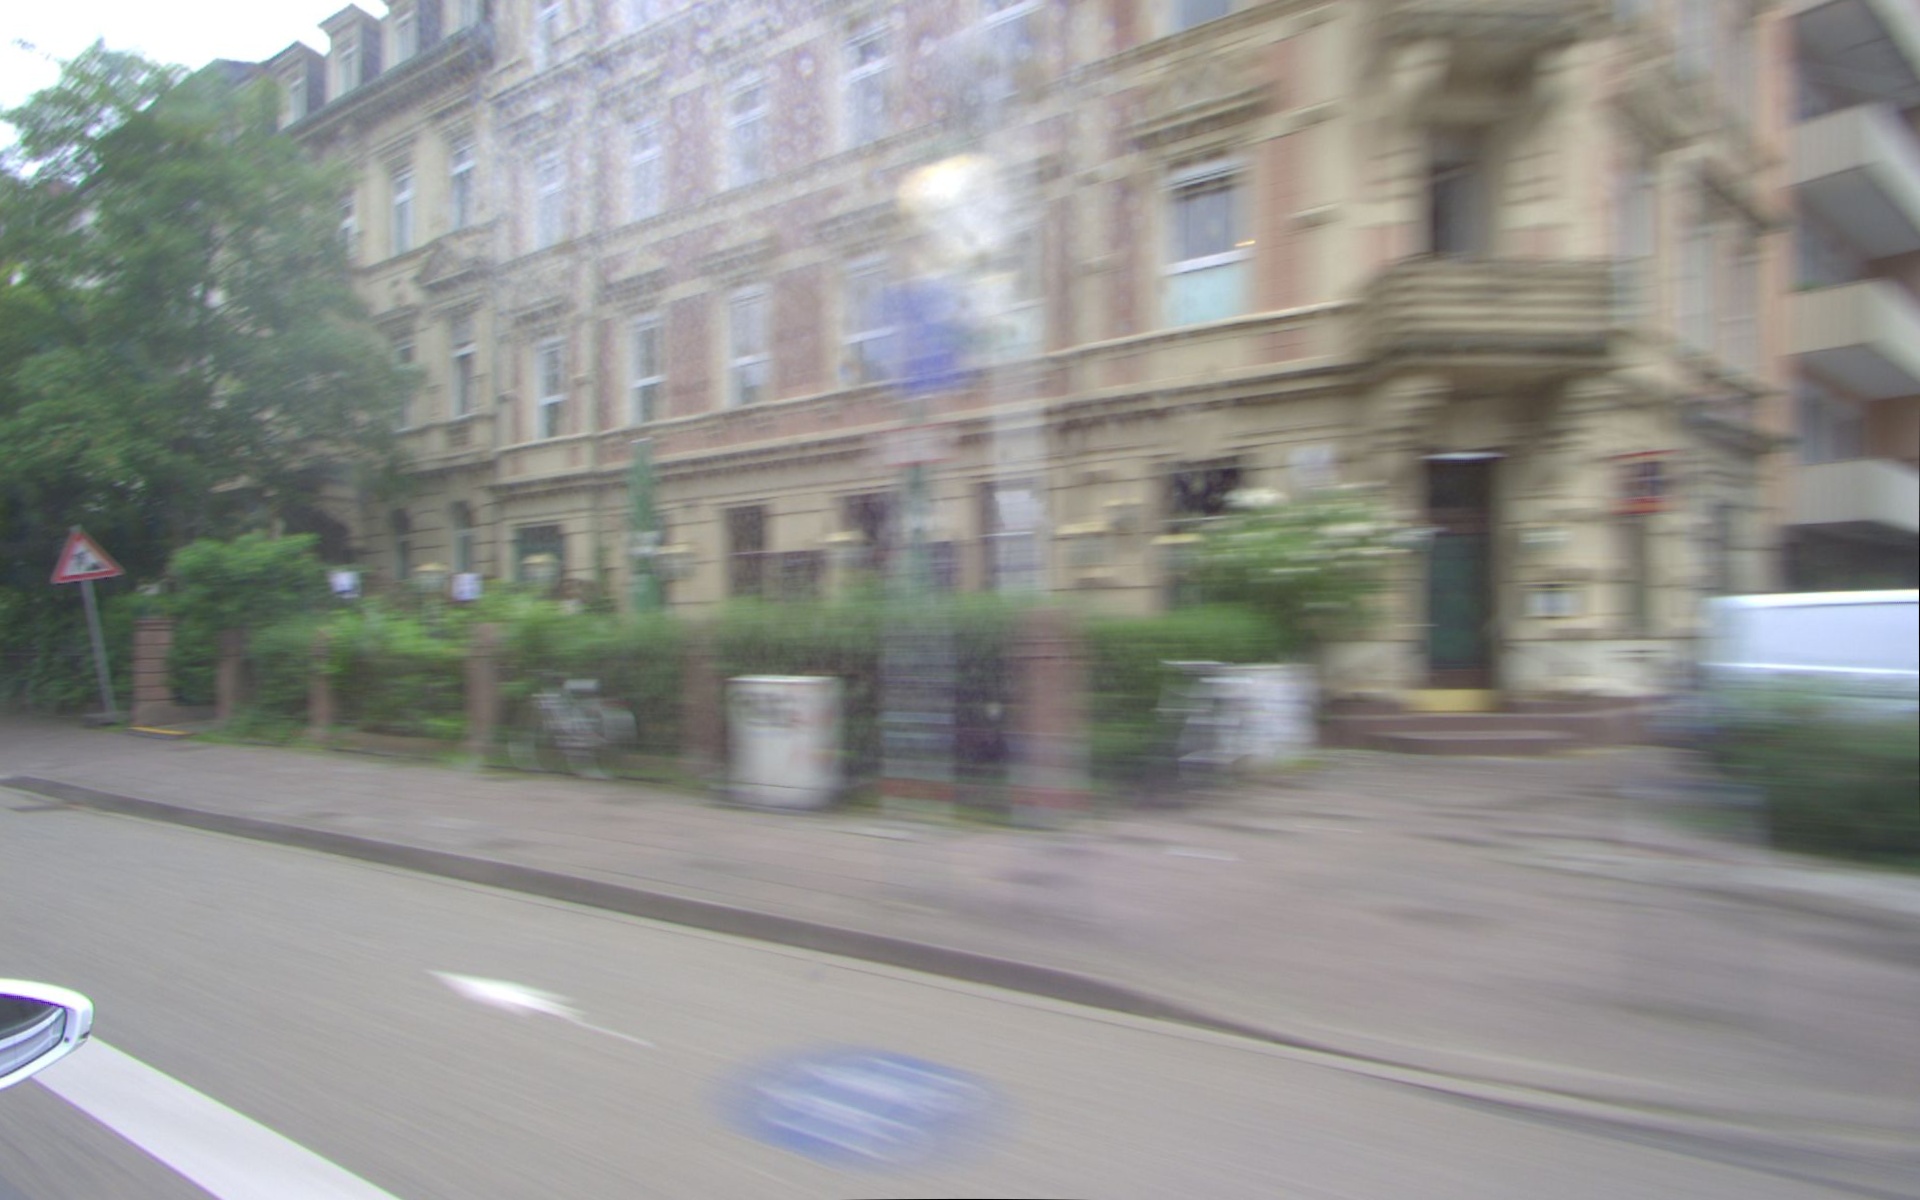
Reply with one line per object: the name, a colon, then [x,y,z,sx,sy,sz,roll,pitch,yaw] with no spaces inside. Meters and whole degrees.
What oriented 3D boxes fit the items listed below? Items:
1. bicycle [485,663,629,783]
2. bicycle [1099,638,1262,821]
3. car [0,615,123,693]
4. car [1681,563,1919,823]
bicycle: [-3.937,1.152,9.720,1.822,1.055,0.301,-1,-1,32]
bicycle: [1.768,0.949,7.881,0.507,1.293,1.596,-1,-2,43]
car: [-23.841,1.332,25.140,1.783,1.882,3.979,-1,-1,32]
car: [8.484,0.676,7.270,2.038,1.901,4.983,1,-2,-42]
